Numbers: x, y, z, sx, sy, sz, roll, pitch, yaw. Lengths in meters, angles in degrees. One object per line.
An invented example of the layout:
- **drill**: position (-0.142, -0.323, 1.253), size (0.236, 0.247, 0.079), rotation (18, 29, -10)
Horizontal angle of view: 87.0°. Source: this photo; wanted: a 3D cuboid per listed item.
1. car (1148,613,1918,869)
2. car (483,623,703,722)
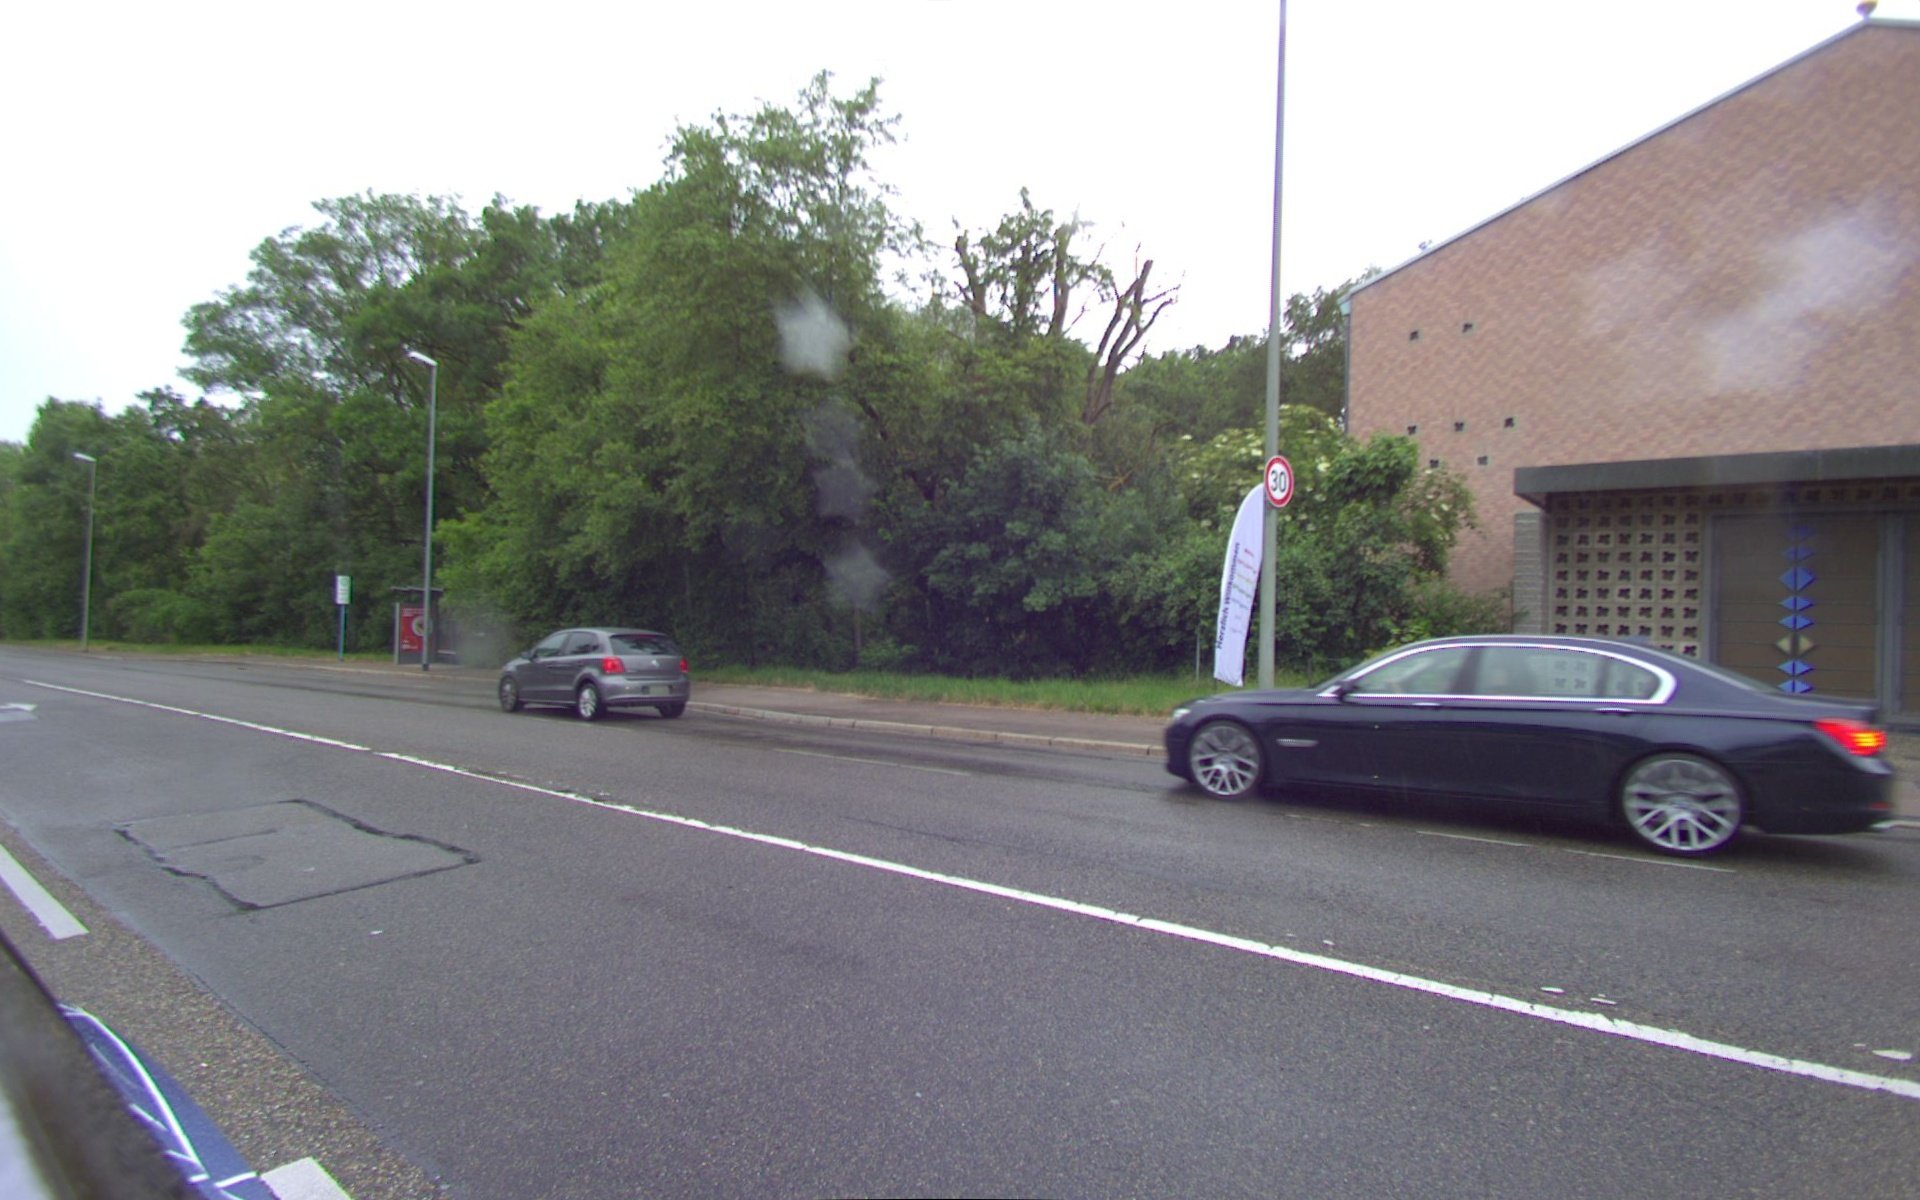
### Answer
- **car**: position (4.183, 0.910, 8.141), size (4.944, 1.465, 1.891), rotation (-1, -5, 40)
- **car**: position (-6.066, 1.116, 16.539), size (3.901, 1.440, 1.578), rotation (-1, -3, 39)
